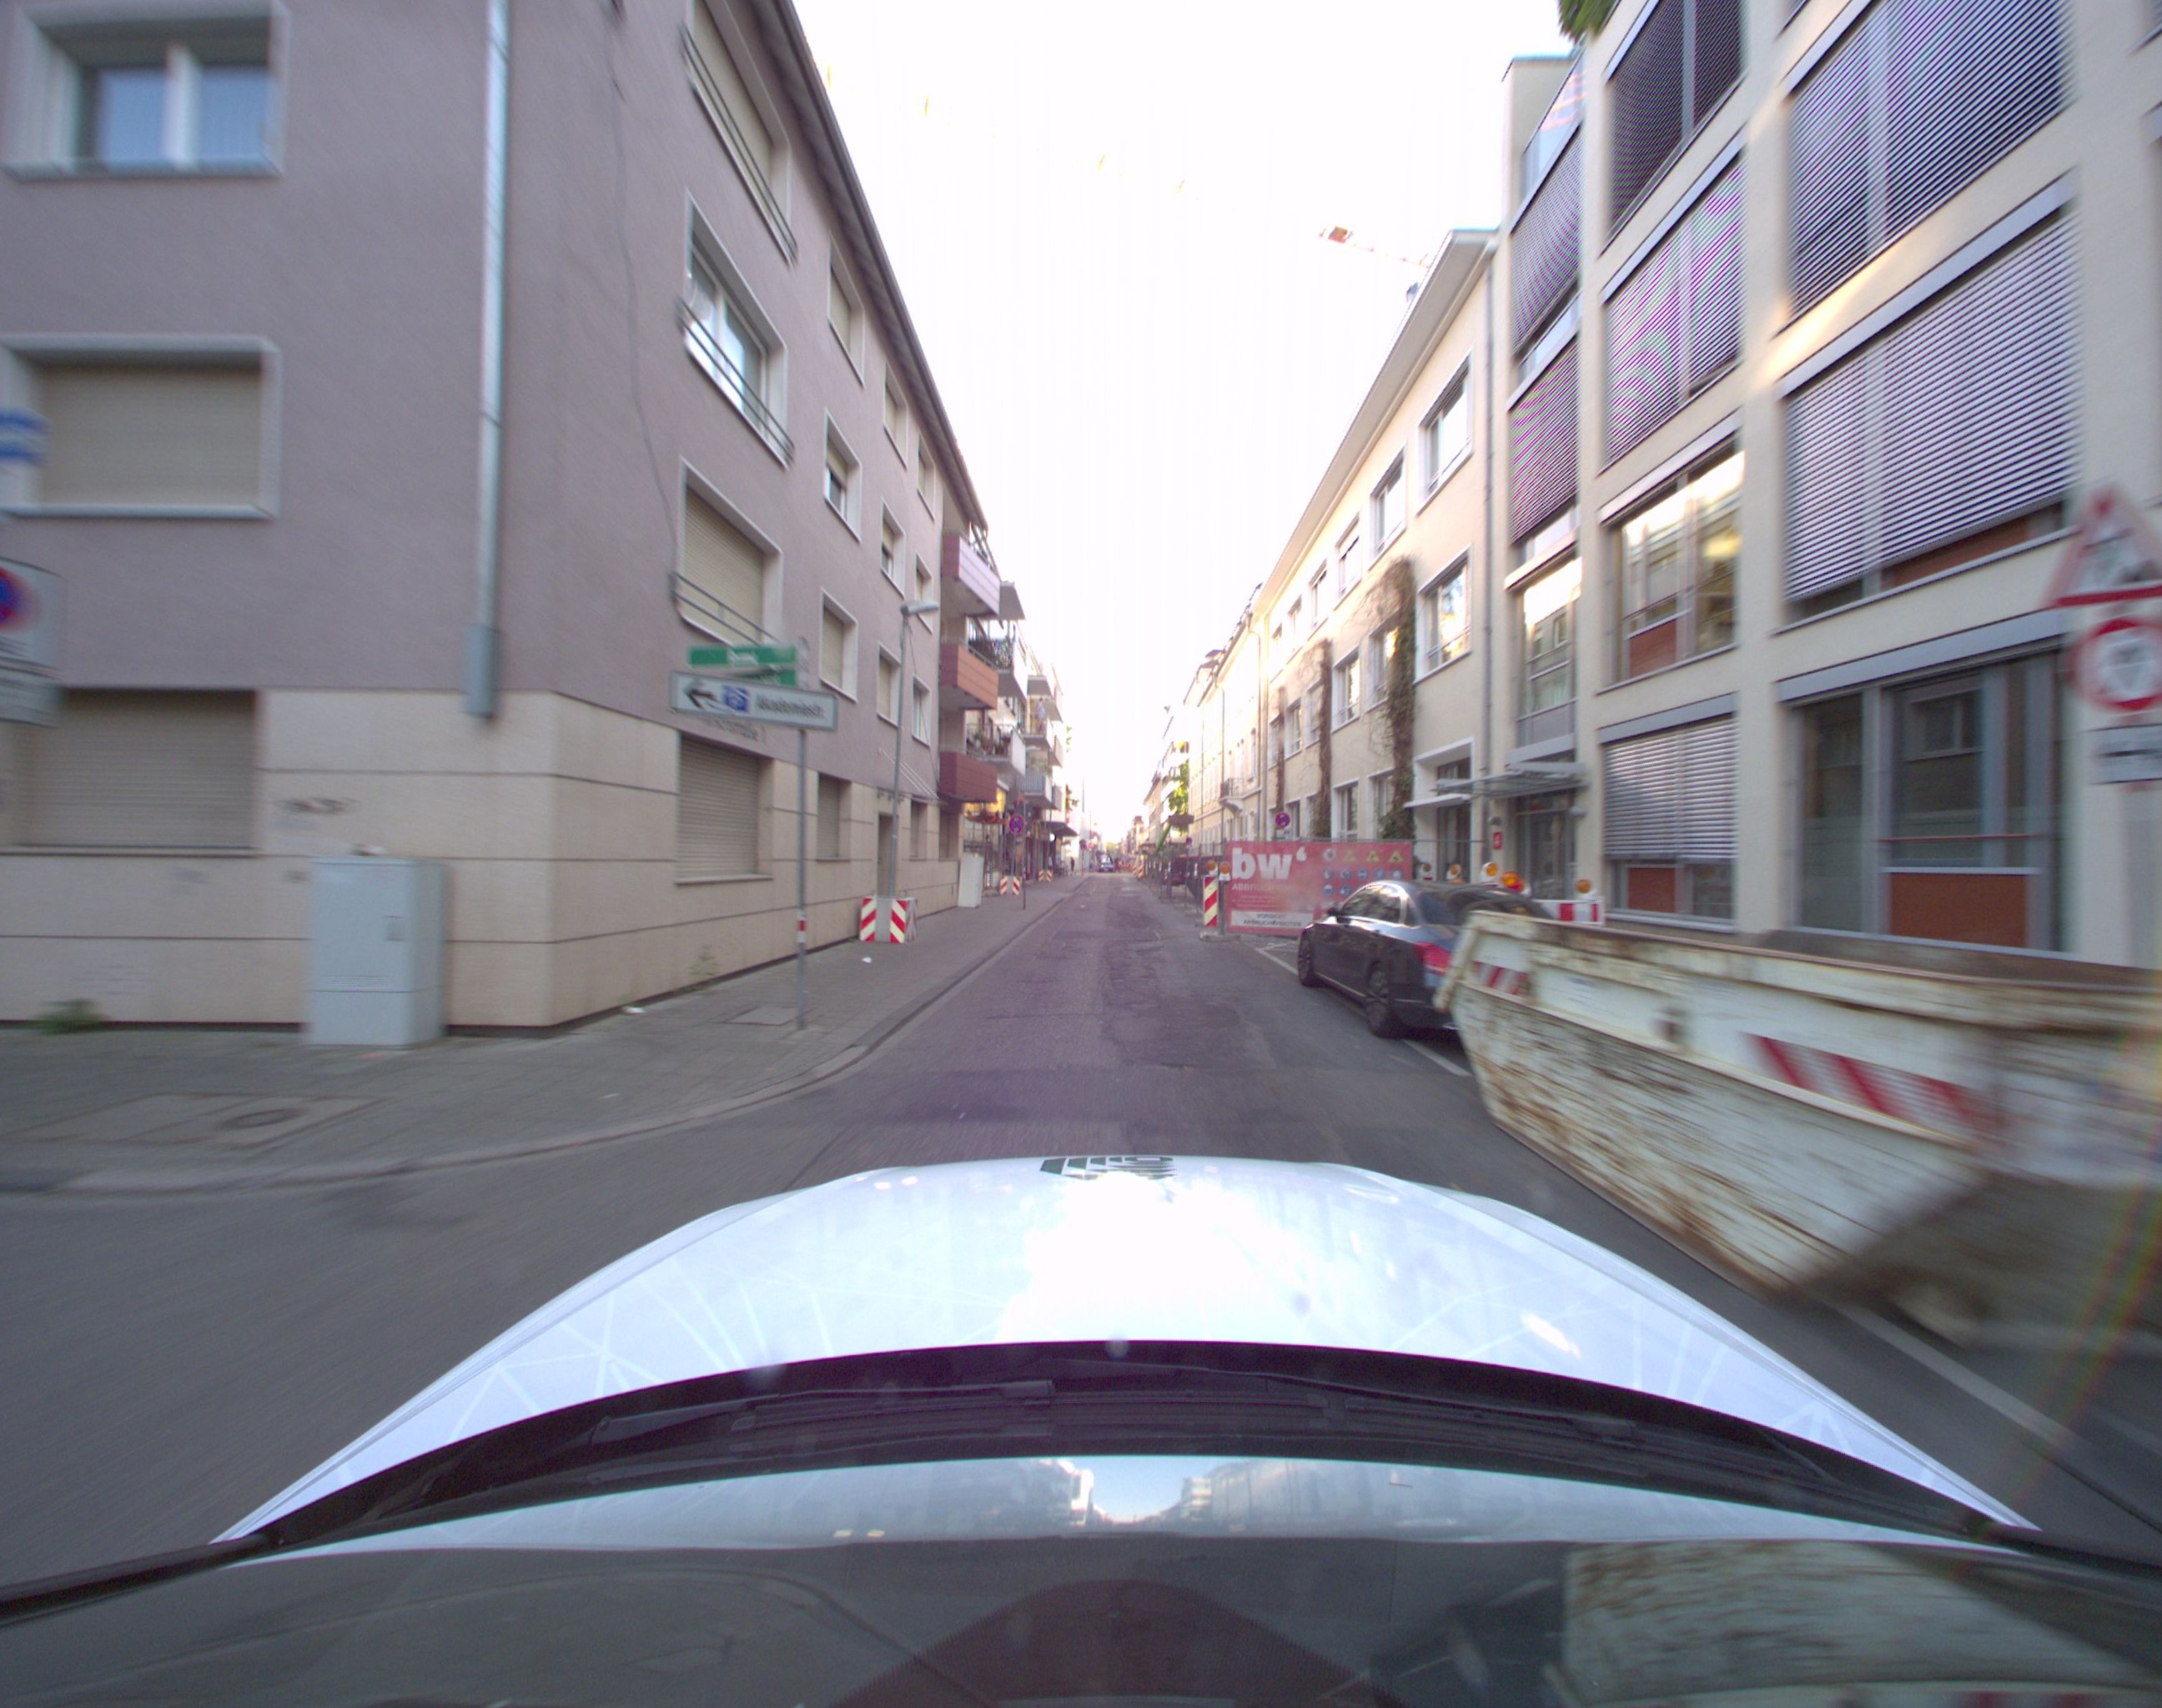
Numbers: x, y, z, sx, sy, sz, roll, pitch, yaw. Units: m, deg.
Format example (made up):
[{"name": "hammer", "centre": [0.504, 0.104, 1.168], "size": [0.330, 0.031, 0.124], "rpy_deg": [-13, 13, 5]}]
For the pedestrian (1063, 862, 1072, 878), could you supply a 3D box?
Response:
[{"name": "pedestrian", "centre": [-1.173, 1.367, 69.917], "size": [0.699, 1.275, 0.714], "rpy_deg": [2, -1, 2]}]

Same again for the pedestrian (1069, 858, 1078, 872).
[{"name": "pedestrian", "centre": [-0.675, 1.020, 74.373], "size": [0.708, 1.275, 0.705], "rpy_deg": [1, -1, 2]}]

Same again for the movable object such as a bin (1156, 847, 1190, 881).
[{"name": "movable object such as a bin", "centre": [7.867, 0.836, 70.150], "size": [2.594, 2.839, 4.452], "rpy_deg": [-1, -1, 2]}]

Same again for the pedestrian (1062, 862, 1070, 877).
[{"name": "pedestrian", "centre": [-1.293, 1.295, 69.071], "size": [0.571, 1.275, 0.714], "rpy_deg": [2, -1, 2]}]

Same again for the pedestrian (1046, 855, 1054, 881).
[{"name": "pedestrian", "centre": [-2.158, 0.974, 57.350], "size": [0.529, 1.834, 0.562], "rpy_deg": [0, -1, -4]}]

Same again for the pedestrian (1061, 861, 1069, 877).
[{"name": "pedestrian", "centre": [-1.337, 1.276, 68.249], "size": [0.571, 1.275, 0.714], "rpy_deg": [2, -1, 2]}]

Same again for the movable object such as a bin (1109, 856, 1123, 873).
[{"name": "movable object such as a bin", "centre": [5.580, 1.731, 129.315], "size": [2.148, 2.664, 4.574], "rpy_deg": [0, -1, 2]}]

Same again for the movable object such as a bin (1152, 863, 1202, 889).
[{"name": "movable object such as a bin", "centre": [6.446, 1.460, 55.668], "size": [2.726, 1.638, 7.553], "rpy_deg": [1, -1, 1]}]

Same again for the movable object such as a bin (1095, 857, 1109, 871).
[{"name": "movable object such as a bin", "centre": [3.140, 1.473, 119.141], "size": [1.985, 2.014, 4.002], "rpy_deg": [-1, -1, 3]}]

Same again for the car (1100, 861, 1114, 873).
[{"name": "car", "centre": [3.260, 1.677, 103.991], "size": [1.624, 1.550, 3.140], "rpy_deg": [0, -1, -1]}]

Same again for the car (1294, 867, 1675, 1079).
[{"name": "car", "centre": [3.582, 0.915, 8.289], "size": [1.780, 1.471, 4.448], "rpy_deg": [2, 0, 2]}]

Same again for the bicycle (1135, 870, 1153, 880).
[{"name": "bicycle", "centre": [6.949, 2.295, 89.898], "size": [1.885, 1.038, 0.409], "rpy_deg": [0, -1, -1]}]
